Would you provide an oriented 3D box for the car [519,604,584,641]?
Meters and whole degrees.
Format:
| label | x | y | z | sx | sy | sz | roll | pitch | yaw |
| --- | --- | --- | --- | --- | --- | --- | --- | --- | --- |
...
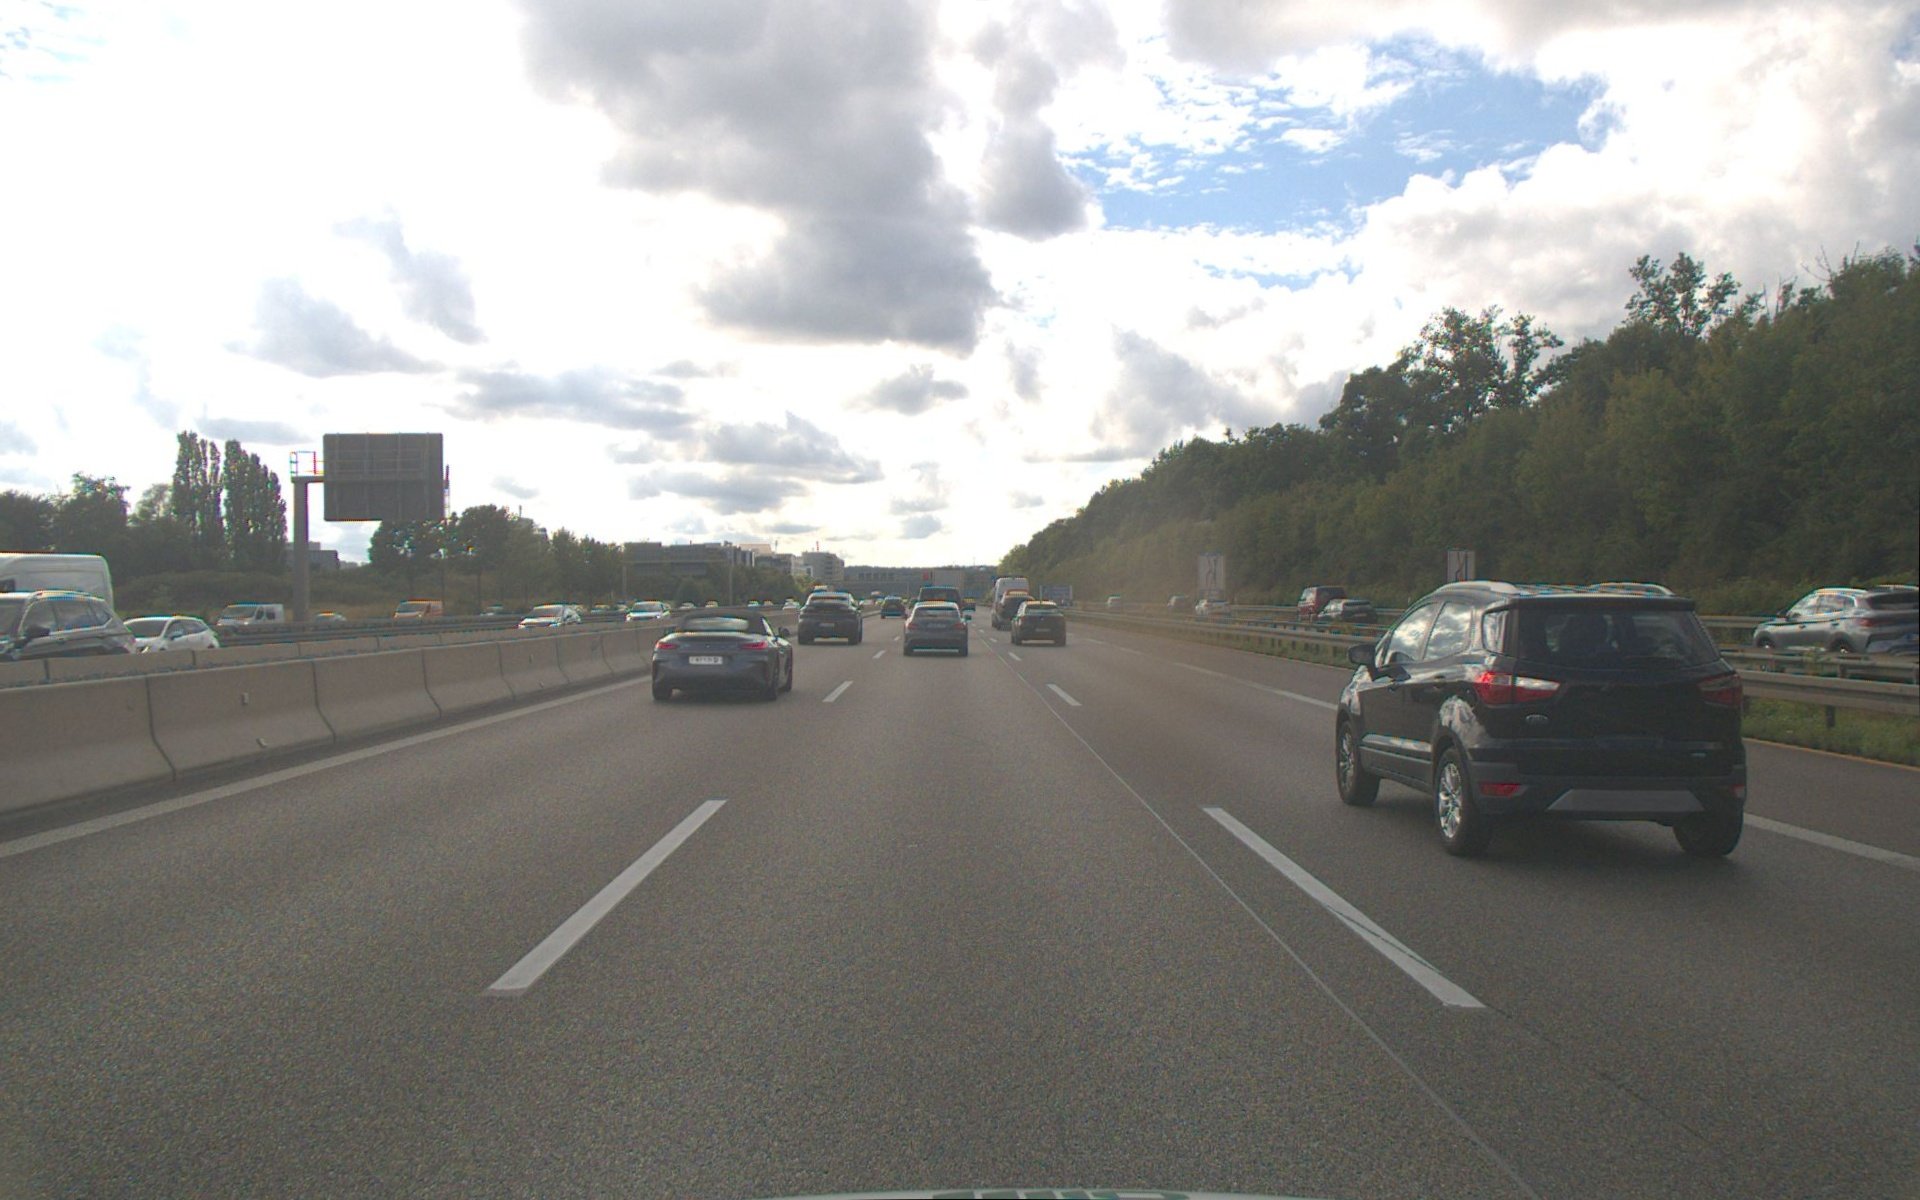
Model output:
| label | x | y | z | sx | sy | sz | roll | pitch | yaw |
| --- | --- | --- | --- | --- | --- | --- | --- | --- | --- |
| car | -16.557 | 0.891 | 67.209 | 1.604 | 1.428 | 4.490 | 0 | 0 | -2 |

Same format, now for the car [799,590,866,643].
| label | x | y | z | sx | sy | sz | roll | pitch | yaw |
| --- | --- | --- | --- | --- | --- | --- | --- | --- | --- |
| car | -4.253 | 0.519 | 55.820 | 1.873 | 1.664 | 5.499 | 0 | 0 | -1 |

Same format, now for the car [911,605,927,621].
| label | x | y | z | sx | sy | sz | roll | pitch | yaw |
| --- | --- | --- | --- | --- | --- | --- | --- | --- | --- |
| car | -4.230 | 1.373 | 171.514 | 1.663 | 1.639 | 4.113 | 0 | 0 | -1 |

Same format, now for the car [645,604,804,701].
| label | x | y | z | sx | sy | sz | roll | pitch | yaw |
| --- | --- | --- | --- | --- | --- | --- | --- | --- | --- |
| car | -3.553 | 0.749 | 25.818 | 1.835 | 1.325 | 4.941 | 0 | 0 | -1 |

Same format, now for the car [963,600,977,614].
| label | x | y | z | sx | sy | sz | roll | pitch | yaw |
| --- | --- | --- | --- | --- | --- | --- | --- | --- | --- |
| car | 1.237 | 0.917 | 212.817 | 1.716 | 1.725 | 4.189 | 0 | 0 | -1 |

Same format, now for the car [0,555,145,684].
| label | x | y | z | sx | sy | sz | roll | pitch | yaw |
| --- | --- | --- | --- | --- | --- | --- | --- | --- | --- |
| car | -16.031 | 0.295 | 27.268 | 2.307 | 2.001 | 5.833 | 0 | 0 | 0 |

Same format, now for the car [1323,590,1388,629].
| label | x | y | z | sx | sy | sz | roll | pitch | yaw |
| --- | --- | --- | --- | --- | --- | --- | --- | --- | --- |
| car | 16.479 | 0.405 | 69.056 | 1.563 | 1.573 | 4.188 | 0 | 0 | -2 |

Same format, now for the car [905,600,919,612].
| label | x | y | z | sx | sy | sz | roll | pitch | yaw |
| --- | --- | --- | --- | --- | --- | --- | --- | --- | --- |
| car | -7.178 | 0.901 | 246.420 | 1.953 | 1.847 | 4.566 | 0 | 0 | -1 |

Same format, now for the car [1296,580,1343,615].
| label | x | y | z | sx | sy | sz | roll | pitch | yaw |
| --- | --- | --- | --- | --- | --- | --- | --- | --- | --- |
| car | 19.348 | -0.109 | 89.103 | 1.563 | 1.835 | 3.823 | 0 | 0 | -2 |

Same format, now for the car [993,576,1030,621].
| label | x | y | z | sx | sy | sz | roll | pitch | yaw |
| --- | --- | --- | --- | --- | --- | --- | --- | --- | --- |
| car | 2.792 | -0.104 | 90.619 | 1.835 | 2.399 | 4.281 | 0 | 0 | -1 |

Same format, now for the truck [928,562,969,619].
| label | x | y | z | sx | sy | sz | roll | pitch | yaw |
| --- | --- | --- | --- | --- | --- | --- | --- | --- | --- |
| truck | -1.004 | -0.766 | 137.148 | 3.196 | 4.451 | 11.024 | 1 | 0 | -1 |

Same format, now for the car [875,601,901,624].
| label | x | y | z | sx | sy | sz | roll | pitch | yaw |
| --- | --- | --- | --- | --- | --- | --- | --- | --- | --- |
| car | -5.463 | 0.915 | 125.921 | 1.835 | 1.728 | 4.071 | 0 | 0 | -1 |

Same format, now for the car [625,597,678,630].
| label | x | y | z | sx | sy | sz | roll | pitch | yaw |
| --- | --- | --- | --- | --- | --- | --- | --- | --- | --- |
| car | -14.790 | 0.637 | 79.507 | 1.727 | 1.559 | 4.716 | 0 | 0 | 0 |

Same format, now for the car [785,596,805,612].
| label | x | y | z | sx | sy | sz | roll | pitch | yaw |
| --- | --- | --- | --- | --- | --- | --- | --- | --- | --- |
| car | -17.703 | 0.450 | 177.575 | 1.743 | 1.674 | 4.071 | 0 | 0 | -1 |

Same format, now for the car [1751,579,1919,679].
| label | x | y | z | sx | sy | sz | roll | pitch | yaw |
| --- | --- | --- | --- | --- | --- | --- | --- | --- | --- |
| car | 16.650 | 0.486 | 30.712 | 1.809 | 1.679 | 4.305 | -2 | 0 | -1 |

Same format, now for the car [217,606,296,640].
| label | x | y | z | sx | sy | sz | roll | pitch | yaw |
| --- | --- | --- | --- | --- | --- | --- | --- | --- | --- |
| car | -37.323 | 1.185 | 87.911 | 1.953 | 1.730 | 5.632 | 0 | 0 | -2 |

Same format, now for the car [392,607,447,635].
| label | x | y | z | sx | sy | sz | roll | pitch | yaw |
| --- | --- | --- | --- | --- | --- | --- | --- | --- | --- |
| car | -34.290 | 1.314 | 105.061 | 1.953 | 1.730 | 5.134 | 0 | 0 | -1 |

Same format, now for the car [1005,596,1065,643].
| label | x | y | z | sx | sy | sz | roll | pitch | yaw |
| --- | --- | --- | --- | --- | --- | --- | --- | --- | --- |
| car | 2.516 | 0.629 | 56.547 | 1.795 | 1.547 | 4.224 | 0 | 0 | -1 |

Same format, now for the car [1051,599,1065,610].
| label | x | y | z | sx | sy | sz | roll | pitch | yaw |
| --- | --- | --- | --- | --- | --- | --- | --- | --- | --- |
| car | 14.001 | 0.624 | 237.435 | 1.693 | 1.560 | 4.451 | -1 | 0 | -1 |

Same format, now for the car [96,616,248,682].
| label | x | y | z | sx | sy | sz | roll | pitch | yaw |
| --- | --- | --- | --- | --- | --- | --- | --- | --- | --- |
| car | -20.196 | 1.215 | 42.609 | 1.691 | 1.556 | 4.863 | 0 | 0 | -2 |

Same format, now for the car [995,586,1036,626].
| label | x | y | z | sx | sy | sz | roll | pitch | yaw |
| --- | --- | --- | --- | --- | --- | --- | --- | --- | --- |
| car | 2.796 | 0.274 | 83.597 | 1.874 | 1.952 | 4.029 | 0 | 0 | -1 |

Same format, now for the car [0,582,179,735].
| label | x | y | z | sx | sy | sz | roll | pitch | yaw |
| --- | --- | --- | --- | --- | --- | --- | --- | --- | --- |
| car | -11.992 | 0.658 | 21.217 | 1.727 | 1.761 | 4.702 | 1 | 0 | -1 |

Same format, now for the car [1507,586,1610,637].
| label | x | y | z | sx | sy | sz | roll | pitch | yaw |
| --- | --- | --- | --- | --- | --- | --- | --- | --- | --- |
| car | 19.793 | 0.363 | 54.916 | 1.694 | 1.573 | 4.304 | -2 | 0 | -2 |

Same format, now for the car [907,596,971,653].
| label | x | y | z | sx | sy | sz | roll | pitch | yaw |
| --- | --- | --- | --- | --- | --- | --- | --- | --- | --- |
| car | -0.586 | 0.641 | 45.713 | 1.686 | 1.505 | 4.390 | 0 | 0 | -1 |

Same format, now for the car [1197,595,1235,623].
| label | x | y | z | sx | sy | sz | roll | pitch | yaw |
| --- | --- | --- | --- | --- | --- | --- | --- | --- | --- |
| car | 16.321 | 0.566 | 105.539 | 1.716 | 1.725 | 4.189 | 0 | 0 | -1 |

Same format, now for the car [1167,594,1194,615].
| label | x | y | z | sx | sy | sz | roll | pitch | yaw |
| --- | --- | --- | --- | --- | --- | --- | --- | --- | --- |
| car | 18.731 | 0.402 | 140.628 | 1.716 | 1.725 | 4.189 | 0 | 0 | -1 |

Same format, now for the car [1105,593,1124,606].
| label | x | y | z | sx | sy | sz | roll | pitch | yaw |
| --- | --- | --- | --- | --- | --- | --- | --- | --- | --- |
| car | 18.134 | -0.021 | 194.741 | 1.716 | 1.543 | 4.189 | 0 | 0 | -2 |

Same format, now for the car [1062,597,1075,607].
| label | x | y | z | sx | sy | sz | roll | pitch | yaw |
| --- | --- | --- | --- | --- | --- | --- | --- | --- | --- |
| car | 17.076 | 0.350 | 260.588 | 1.716 | 1.543 | 4.189 | 0 | 0 | -1 |

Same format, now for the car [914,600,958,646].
| label | x | y | z | sx | sy | sz | roll | pitch | yaw |
| --- | --- | --- | --- | --- | --- | --- | --- | --- | --- |
| car | -0.949 | 0.888 | 65.870 | 1.686 | 1.754 | 4.390 | 0 | 0 | -1 |

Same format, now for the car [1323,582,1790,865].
| label | x | y | z | sx | sy | sz | roll | pitch | yaw |
| --- | --- | --- | --- | --- | --- | --- | --- | --- | --- |
| car | 3.818 | 0.694 | 11.380 | 1.663 | 1.592 | 4.113 | 0 | 0 | -1 |
